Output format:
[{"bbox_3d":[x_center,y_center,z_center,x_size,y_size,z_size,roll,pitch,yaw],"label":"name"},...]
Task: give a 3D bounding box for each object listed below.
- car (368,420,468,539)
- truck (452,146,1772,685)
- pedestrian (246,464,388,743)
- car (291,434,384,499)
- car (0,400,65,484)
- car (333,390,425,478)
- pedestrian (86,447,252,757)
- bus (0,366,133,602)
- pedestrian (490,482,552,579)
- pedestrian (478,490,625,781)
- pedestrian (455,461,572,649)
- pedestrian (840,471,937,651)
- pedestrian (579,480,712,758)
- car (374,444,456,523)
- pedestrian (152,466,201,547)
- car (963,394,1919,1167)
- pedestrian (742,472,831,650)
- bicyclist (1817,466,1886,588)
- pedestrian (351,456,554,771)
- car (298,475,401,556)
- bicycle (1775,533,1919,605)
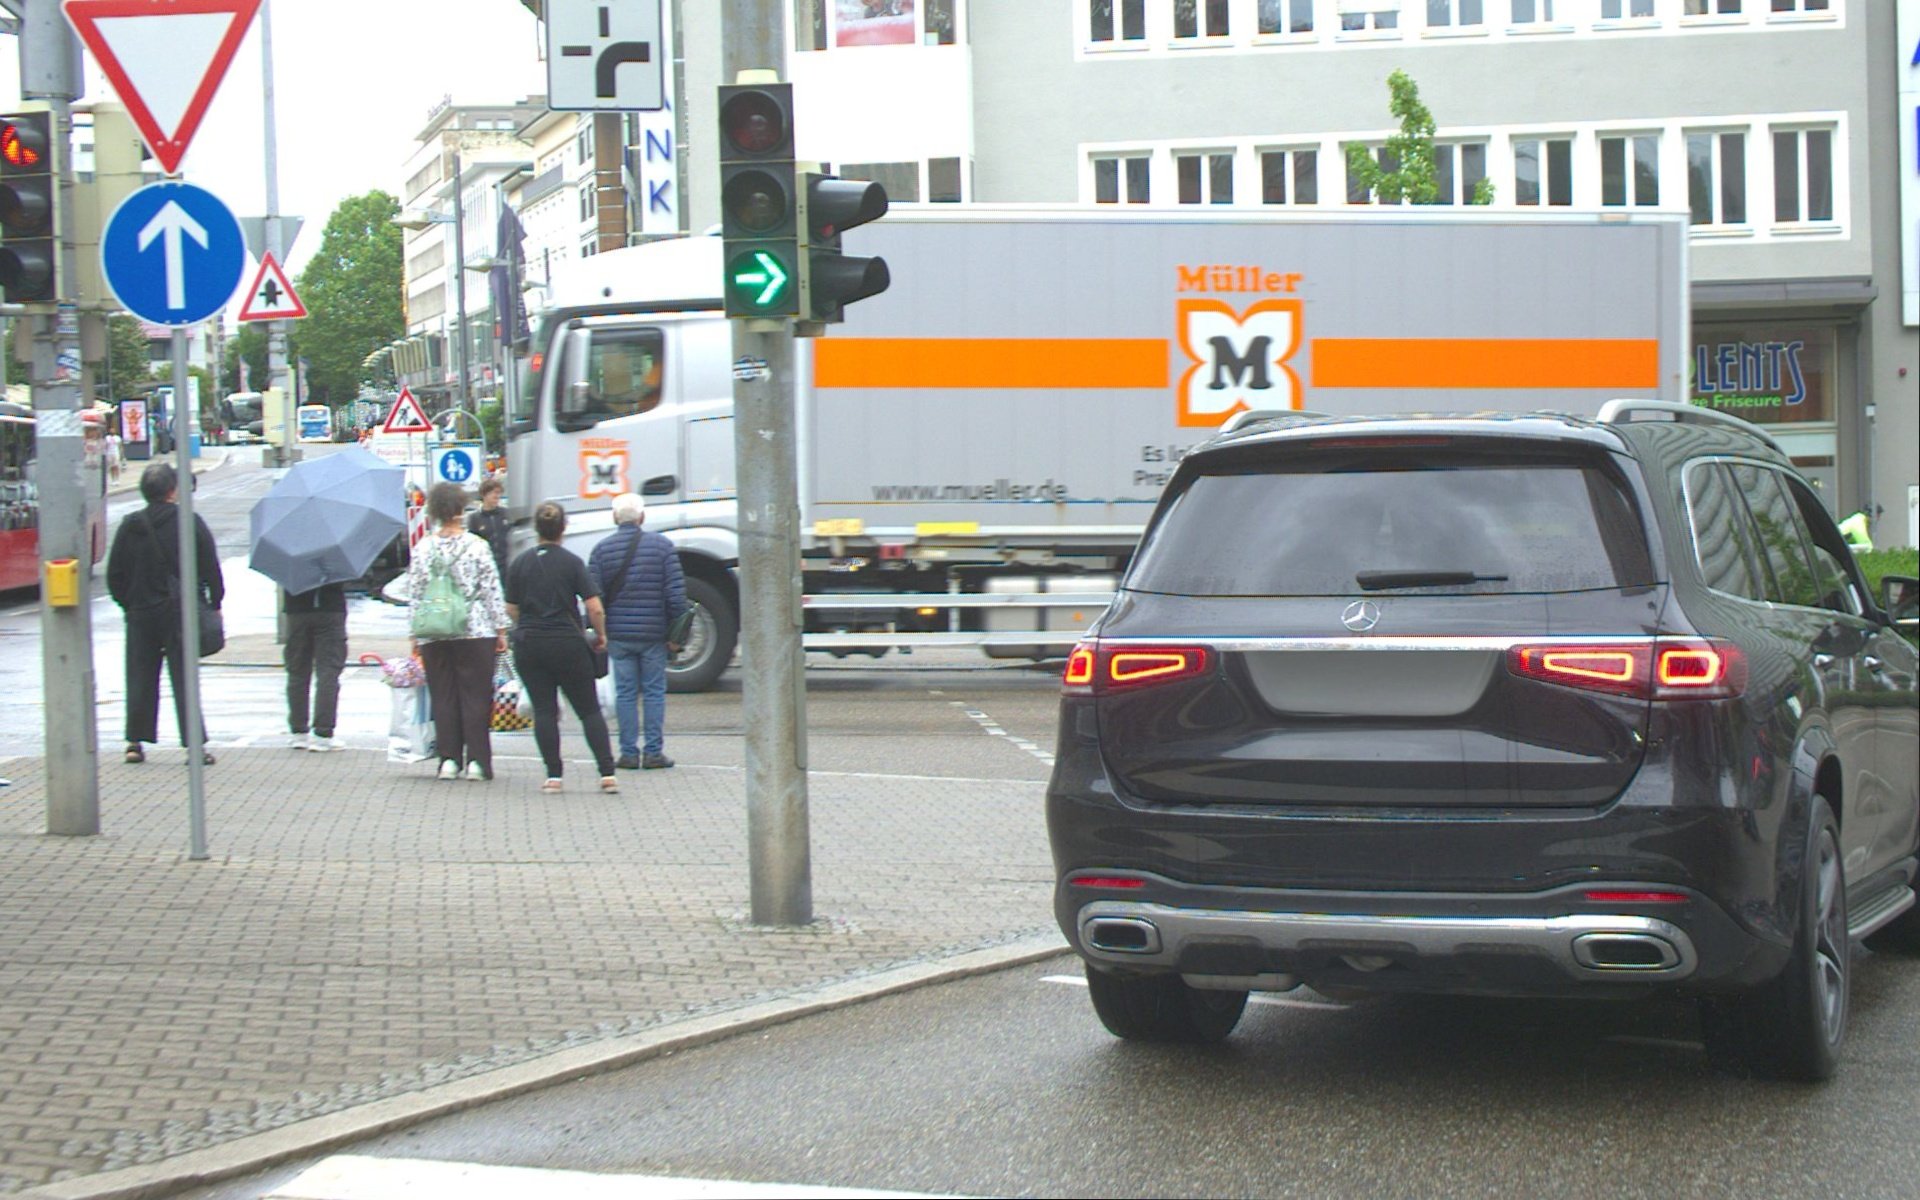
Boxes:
[{"bbox_3d":[-14.121,-3.114,89.292,2.444,2.947,6.155,1,2,-10],"label":"car"},{"bbox_3d":[1.201,-1.529,29.308,10.734,4.318,2.856,0,2,-4],"label":"truck"},{"bbox_3d":[-3.971,0.022,21.260,0.756,1.686,0.693,1,0,-3],"label":"pedestrian"},{"bbox_3d":[-17.861,-3.809,98.869,2.422,1.774,5.156,1,2,-8],"label":"car"},{"bbox_3d":[-23.777,-3.938,86.146,2.241,2.027,5.359,1,2,-11],"label":"car"},{"bbox_3d":[-23.606,-6.713,139.949,2.444,3.453,6.153,1,2,2],"label":"car"},{"bbox_3d":[-4.457,0.008,19.407,0.783,1.705,0.707,1,0,-3],"label":"pedestrian"},{"bbox_3d":[-15.882,-1.829,55.540,2.919,3.309,18.484,0,1,-7],"label":"bus"},{"bbox_3d":[-8.037,-1.276,62.954,1.022,1.769,0.800,0,2,-13],"label":"pedestrian"},{"bbox_3d":[-2.124,0.180,17.936,0.704,1.483,0.560,1,0,-3],"label":"pedestrian"},{"bbox_3d":[-4.297,-0.438,33.066,1.009,1.781,0.854,0,2,-14],"label":"pedestrian"},{"bbox_3d":[-0.717,-0.393,34.204,0.829,1.772,0.618,0,2,-13],"label":"pedestrian"},{"bbox_3d":[-1.808,0.101,19.841,0.713,1.563,0.855,1,1,-3],"label":"pedestrian"},{"bbox_3d":[-13.144,-2.807,82.807,1.860,1.819,4.105,1,2,-10],"label":"car"},{"bbox_3d":[-18.412,-2.195,80.825,0.954,1.880,0.810,1,2,-1],"label":"pedestrian"},{"bbox_3d":[1.879,0.312,10.661,2.090,1.810,4.787,1,3,22],"label":"car"},{"bbox_3d":[-1.660,-0.379,32.933,0.781,1.683,0.639,1,2,1],"label":"pedestrian"},{"bbox_3d":[12.619,-1.031,48.669,0.844,1.698,0.623,-1,1,7],"label":"bicyclist"},{"bbox_3d":[-2.755,0.060,18.754,0.978,1.666,0.915,1,2,-2],"label":"pedestrian"},{"bbox_3d":[-11.951,-1.674,67.505,1.737,1.522,4.001,1,2,-7],"label":"car"},{"bbox_3d":[12.671,-0.439,48.690,2.138,0.989,0.694,0,1,7],"label":"bicycle"}]
